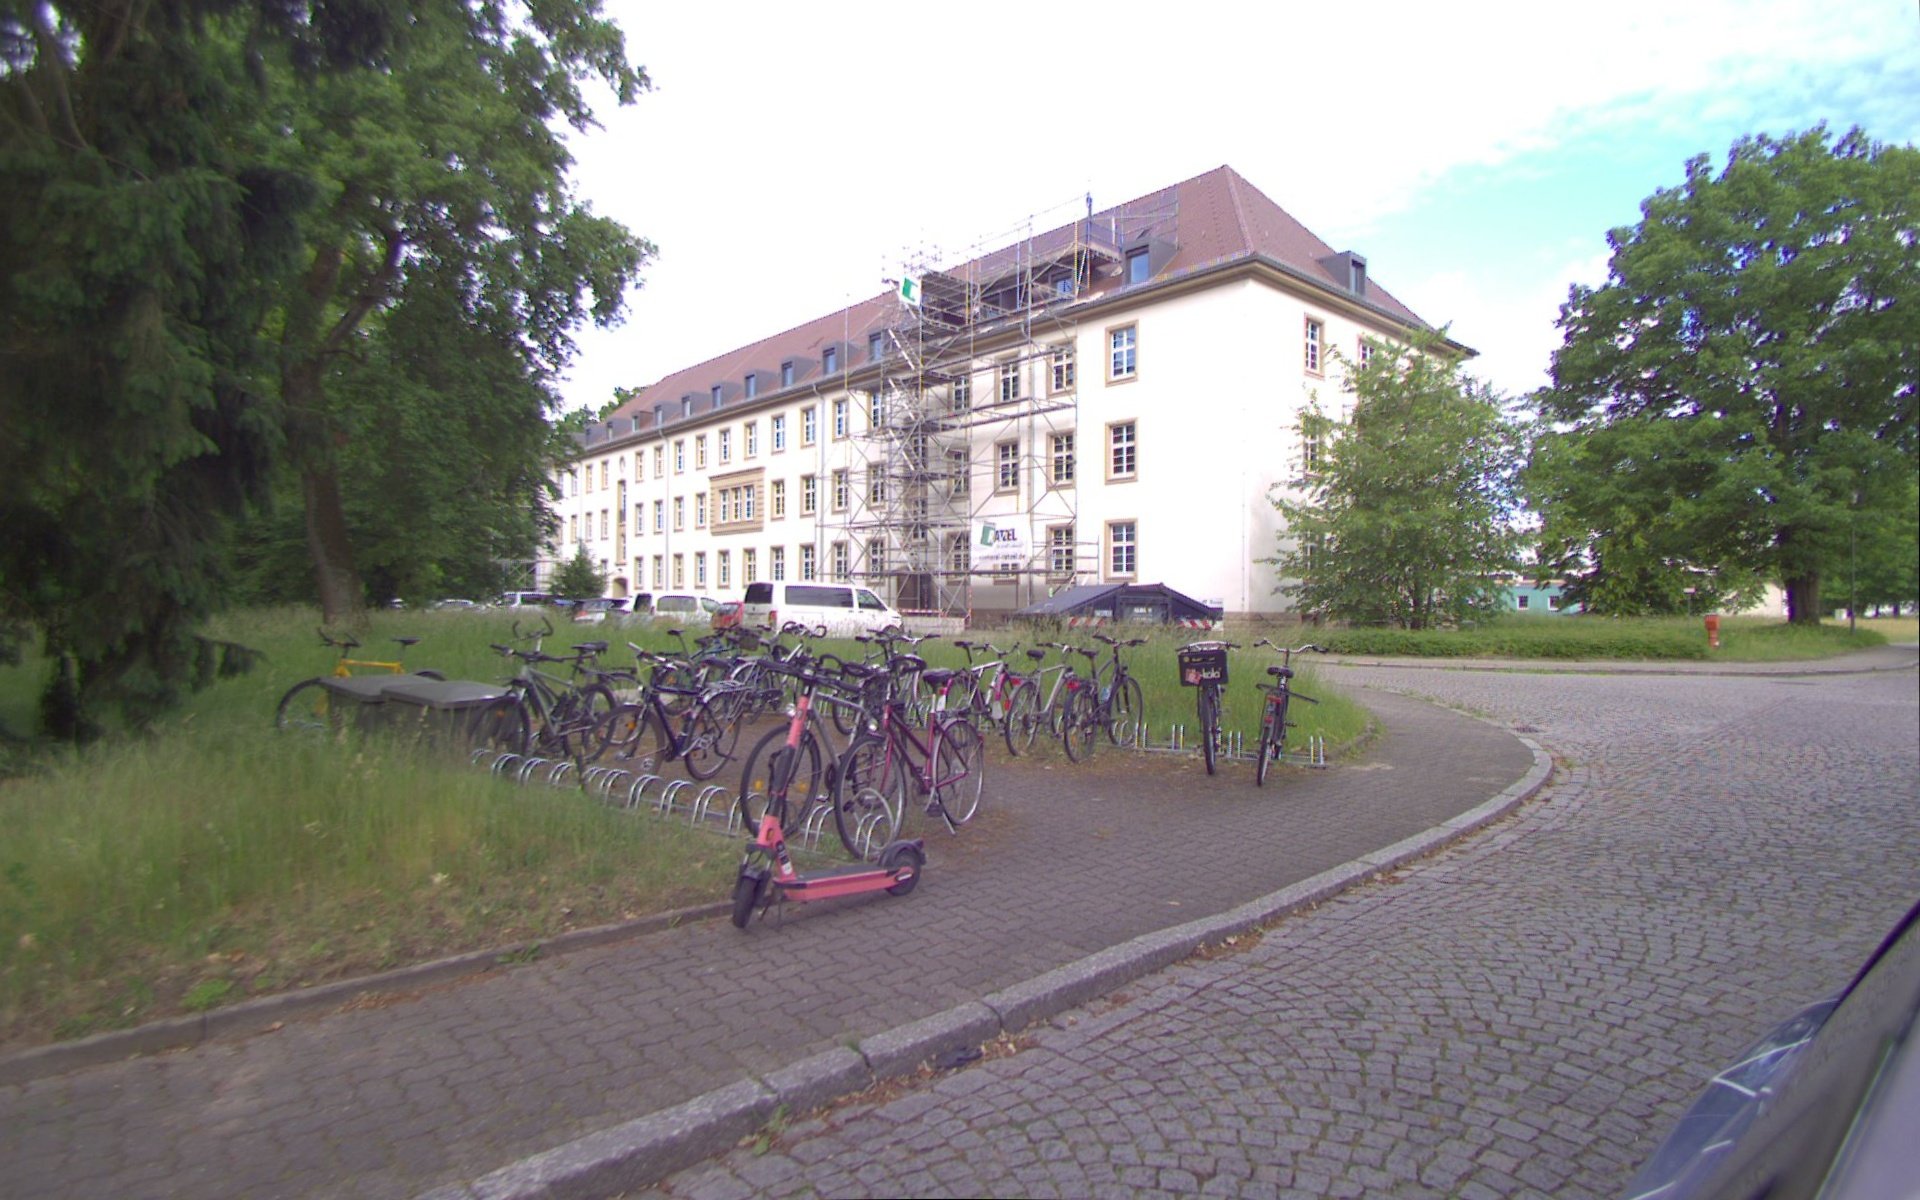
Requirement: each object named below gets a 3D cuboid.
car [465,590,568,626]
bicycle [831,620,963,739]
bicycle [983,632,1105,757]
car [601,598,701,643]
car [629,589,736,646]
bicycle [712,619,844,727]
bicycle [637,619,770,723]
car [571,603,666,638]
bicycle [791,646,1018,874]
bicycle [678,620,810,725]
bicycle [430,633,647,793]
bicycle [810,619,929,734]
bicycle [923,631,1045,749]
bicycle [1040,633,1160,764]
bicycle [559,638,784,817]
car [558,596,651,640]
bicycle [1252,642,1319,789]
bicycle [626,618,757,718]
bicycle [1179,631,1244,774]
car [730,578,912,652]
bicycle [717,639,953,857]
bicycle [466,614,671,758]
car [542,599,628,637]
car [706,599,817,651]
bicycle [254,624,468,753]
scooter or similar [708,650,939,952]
[{"bbox_3d":[-21.982,0.379,50.259,4.468,1.669,1.465,0,0,-43],"label":"car"},{"bbox_3d":[-0.627,0.785,10.661,0.474,1.126,1.745,-1,0,31],"label":"bicycle"},{"bbox_3d":[0.851,0.867,9.806,0.474,1.020,1.649,-1,1,31],"label":"bicycle"},{"bbox_3d":[-11.107,0.704,36.497,3.194,1.585,1.328,0,0,-43],"label":"car"},{"bbox_3d":[-9.539,0.567,34.864,3.194,1.867,1.601,0,0,-42],"label":"car"},{"bbox_3d":[-2.077,0.796,11.740,0.474,1.126,1.745,-1,0,31],"label":"bicycle"},{"bbox_3d":[-3.024,0.809,12.075,0.439,1.126,1.629,-1,-1,37],"label":"bicycle"},{"bbox_3d":[-12.919,0.747,38.339,3.194,1.233,1.294,0,0,-43],"label":"car"},{"bbox_3d":[-0.278,0.889,6.280,0.547,1.128,1.751,-1,0,30],"label":"bicycle"},{"bbox_3d":[-2.506,0.808,11.883,0.439,1.126,1.629,-1,-1,37],"label":"bicycle"},{"bbox_3d":[-3.304,0.835,8.118,0.545,1.078,1.741,0,0,22],"label":"bicycle"},{"bbox_3d":[-0.949,0.790,11.091,0.473,1.126,1.749,-1,0,26],"label":"bicycle"},{"bbox_3d":[0.281,0.873,10.331,0.474,1.020,1.649,-1,1,31],"label":"bicycle"},{"bbox_3d":[1.334,0.863,9.420,0.474,1.020,1.649,-1,1,31],"label":"bicycle"},{"bbox_3d":[-2.039,0.850,7.440,0.611,1.078,1.812,0,0,22],"label":"bicycle"},{"bbox_3d":[-14.095,0.699,40.186,3.194,1.682,1.437,0,0,-42],"label":"car"},{"bbox_3d":[2.736,0.920,8.561,0.471,1.020,1.614,-1,1,17],"label":"bicycle"},{"bbox_3d":[-3.312,0.805,12.622,0.474,1.126,1.745,-1,0,31],"label":"bicycle"},{"bbox_3d":[2.287,0.862,9.110,0.471,1.087,1.614,-1,1,17],"label":"bicycle"},{"bbox_3d":[-4.016,0.405,29.942,5.186,2.022,1.964,0,0,-43],"label":"car"},{"bbox_3d":[-0.725,0.851,6.484,0.547,1.128,1.786,-1,0,30],"label":"bicycle"},{"bbox_3d":[-3.564,0.734,9.350,0.549,1.186,1.729,-1,-1,40],"label":"bicycle"},{"bbox_3d":[-15.927,0.739,43.051,3.194,1.585,1.381,0,0,-43],"label":"car"},{"bbox_3d":[-6.103,0.738,31.317,3.194,1.546,1.309,0,0,-43],"label":"car"},{"bbox_3d":[-5.557,0.775,9.488,0.547,1.055,1.663,-1,0,33],"label":"bicycle"},{"bbox_3d":[-0.620,0.880,4.833,0.356,1.225,1.119,-1,-1,44],"label":"scooter or similar"}]
